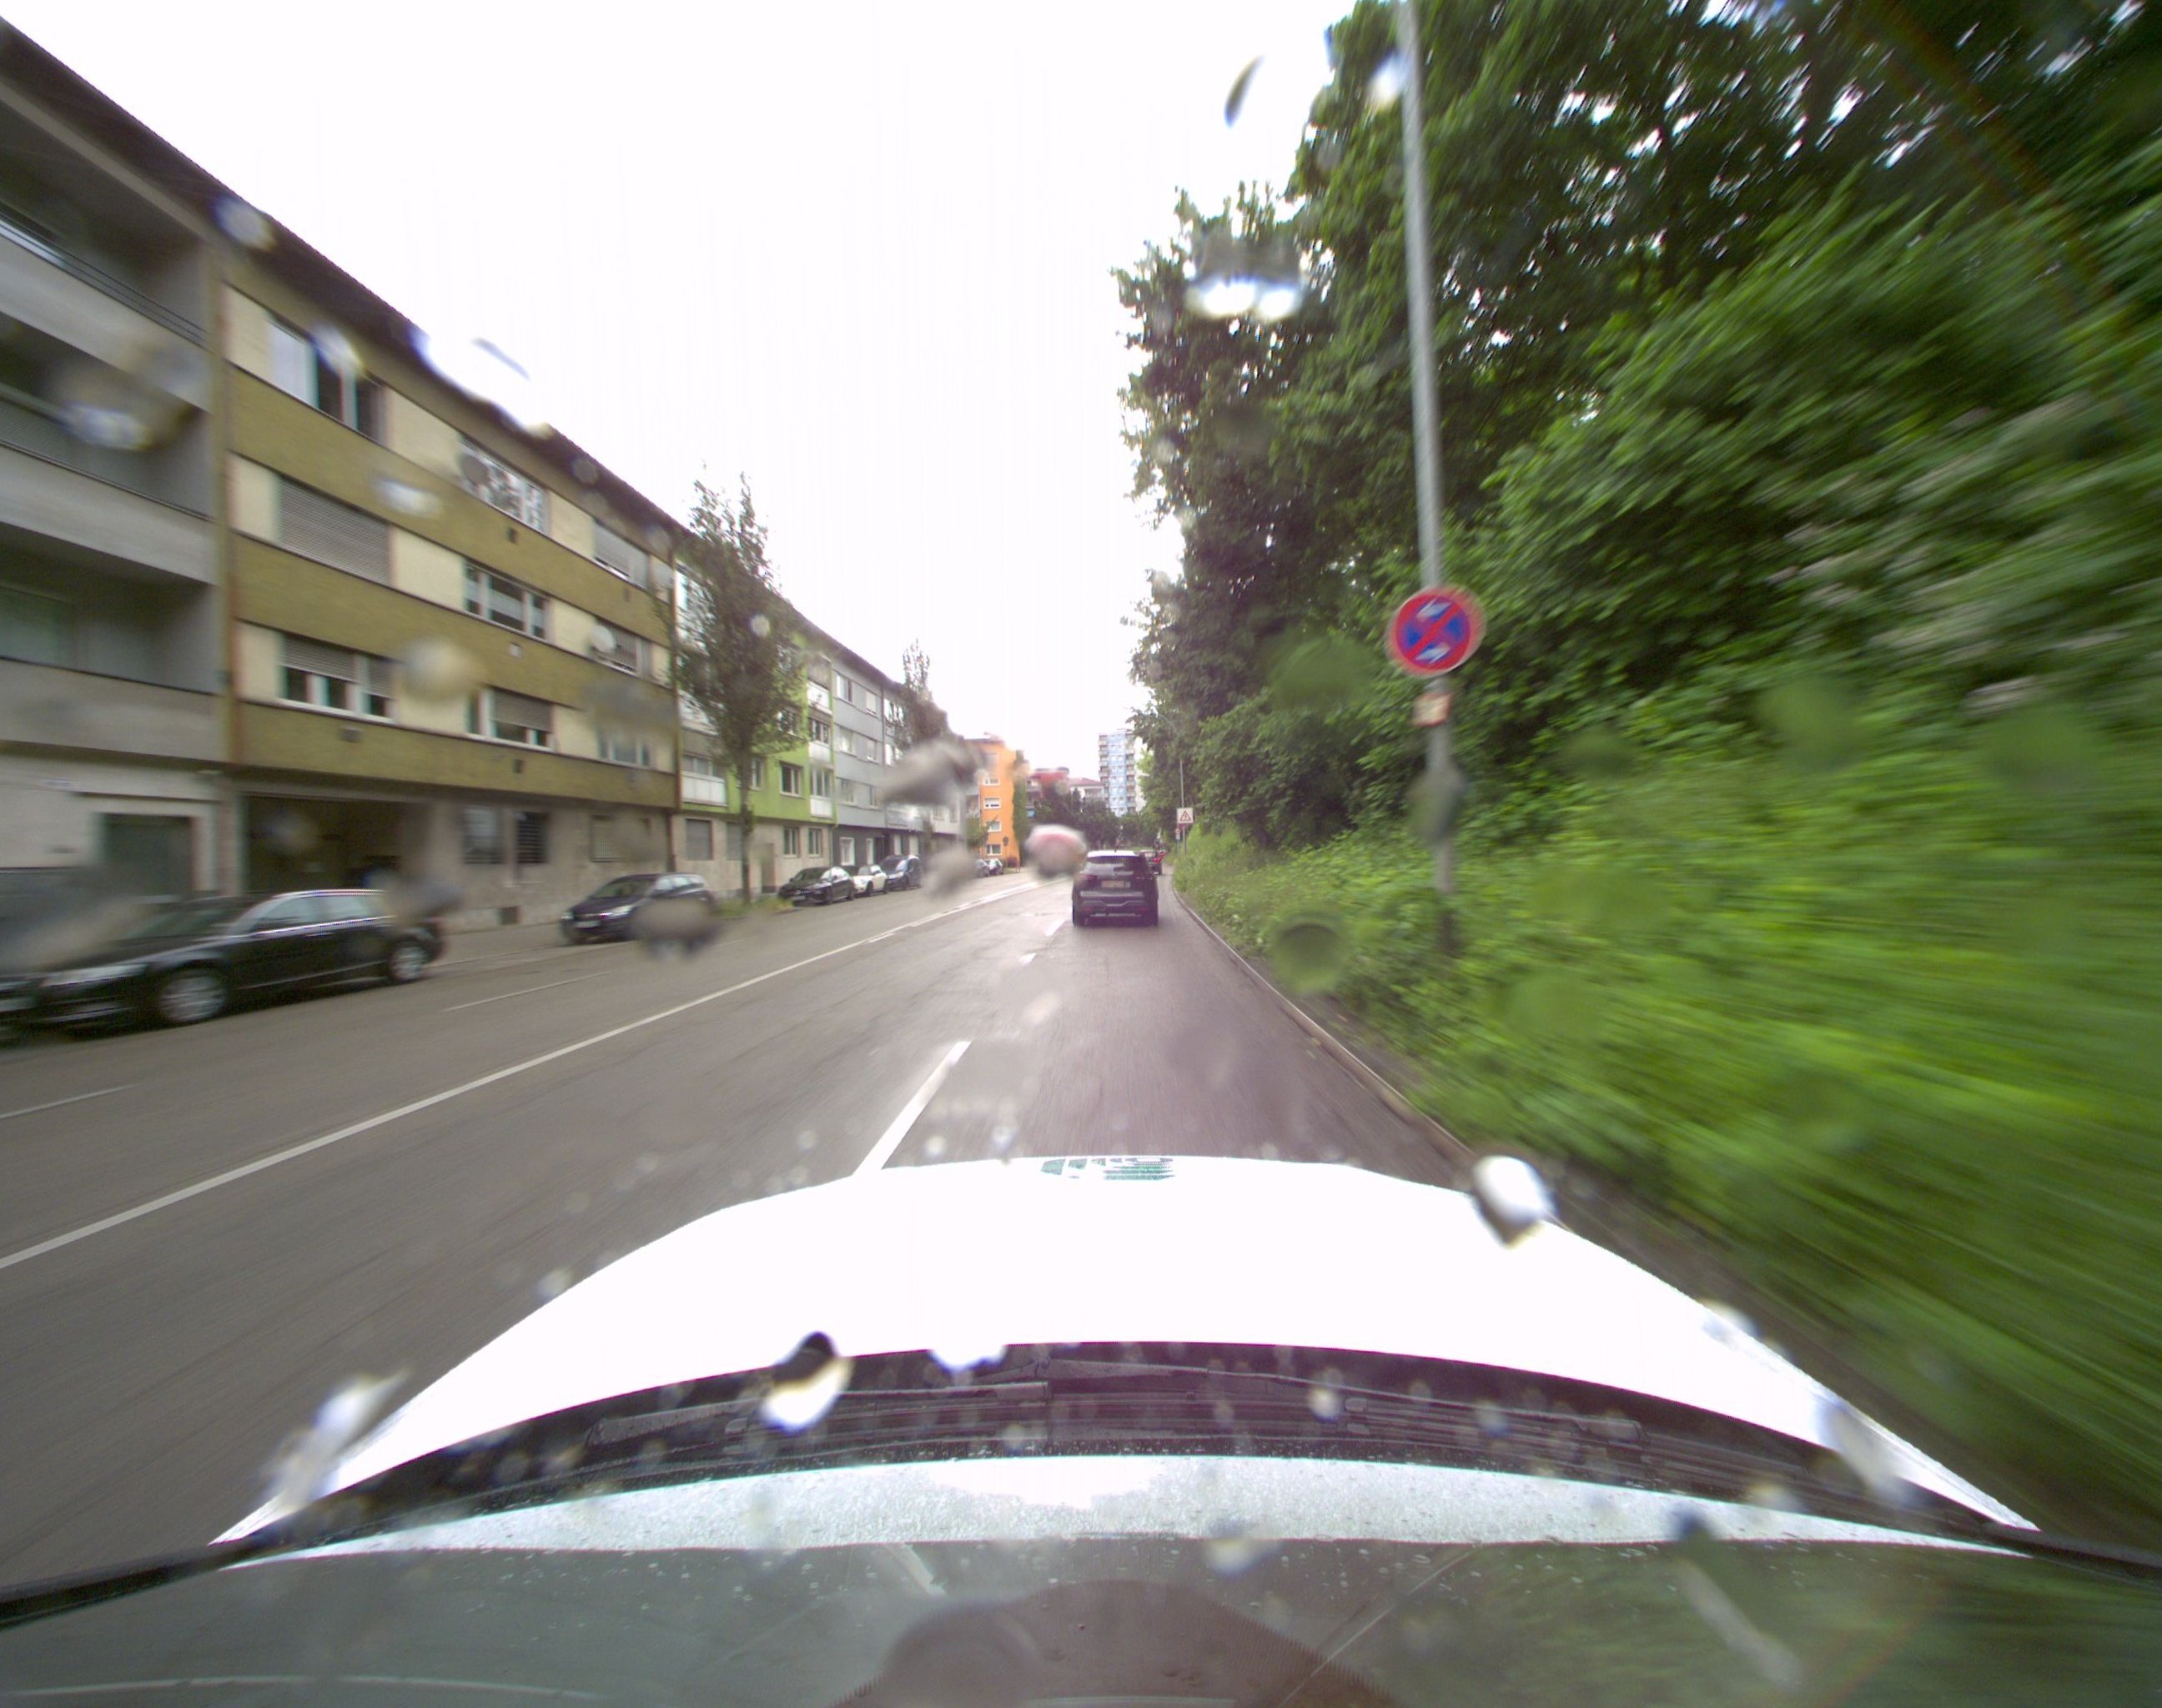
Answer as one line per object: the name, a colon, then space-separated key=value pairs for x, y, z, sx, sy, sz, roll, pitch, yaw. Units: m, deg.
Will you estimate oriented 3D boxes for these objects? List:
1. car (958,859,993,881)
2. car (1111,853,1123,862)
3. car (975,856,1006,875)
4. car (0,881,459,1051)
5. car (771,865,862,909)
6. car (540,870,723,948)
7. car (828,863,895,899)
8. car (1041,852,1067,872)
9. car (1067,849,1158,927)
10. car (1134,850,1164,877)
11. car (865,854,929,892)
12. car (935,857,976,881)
car: x=-7.914 y=1.156 z=61.517 sx=1.673 sy=1.449 sz=4.281 roll=-5 pitch=0 yaw=4
car: x=6.266 y=0.592 z=140.646 sx=1.780 sy=1.504 sz=4.653 roll=-3 pitch=0 yaw=4
car: x=-7.448 y=0.939 z=67.291 sx=1.704 sy=1.425 sz=4.328 roll=-4 pitch=0 yaw=5
car: x=-10.825 y=1.221 z=10.488 sx=1.811 sy=1.488 sz=4.790 roll=-4 pitch=0 yaw=1
car: x=-10.018 y=1.201 z=31.235 sx=1.811 sy=1.372 sz=4.681 roll=-4 pitch=0 yaw=1
car: x=-10.634 y=1.221 z=19.705 sx=1.712 sy=1.488 sz=4.517 roll=-4 pitch=0 yaw=2
car: x=-9.852 y=1.177 z=36.902 sx=1.673 sy=1.376 sz=4.003 roll=-4 pitch=0 yaw=3
car: x=-2.195 y=0.661 z=67.156 sx=1.699 sy=1.478 sz=3.683 roll=-3 pitch=0 yaw=3
car: x=0.793 y=0.694 z=18.559 sx=1.836 sy=1.582 sz=4.005 roll=0 pitch=0 yaw=4
car: x=4.554 y=0.596 z=54.489 sx=1.878 sy=1.711 sz=4.005 roll=-1 pitch=0 yaw=5
car: x=-9.535 y=0.955 z=42.532 sx=1.882 sy=1.766 sz=4.605 roll=-3 pitch=0 yaw=4
car: x=-8.557 y=0.995 z=55.708 sx=1.681 sy=1.358 sz=4.584 roll=-5 pitch=0 yaw=4
